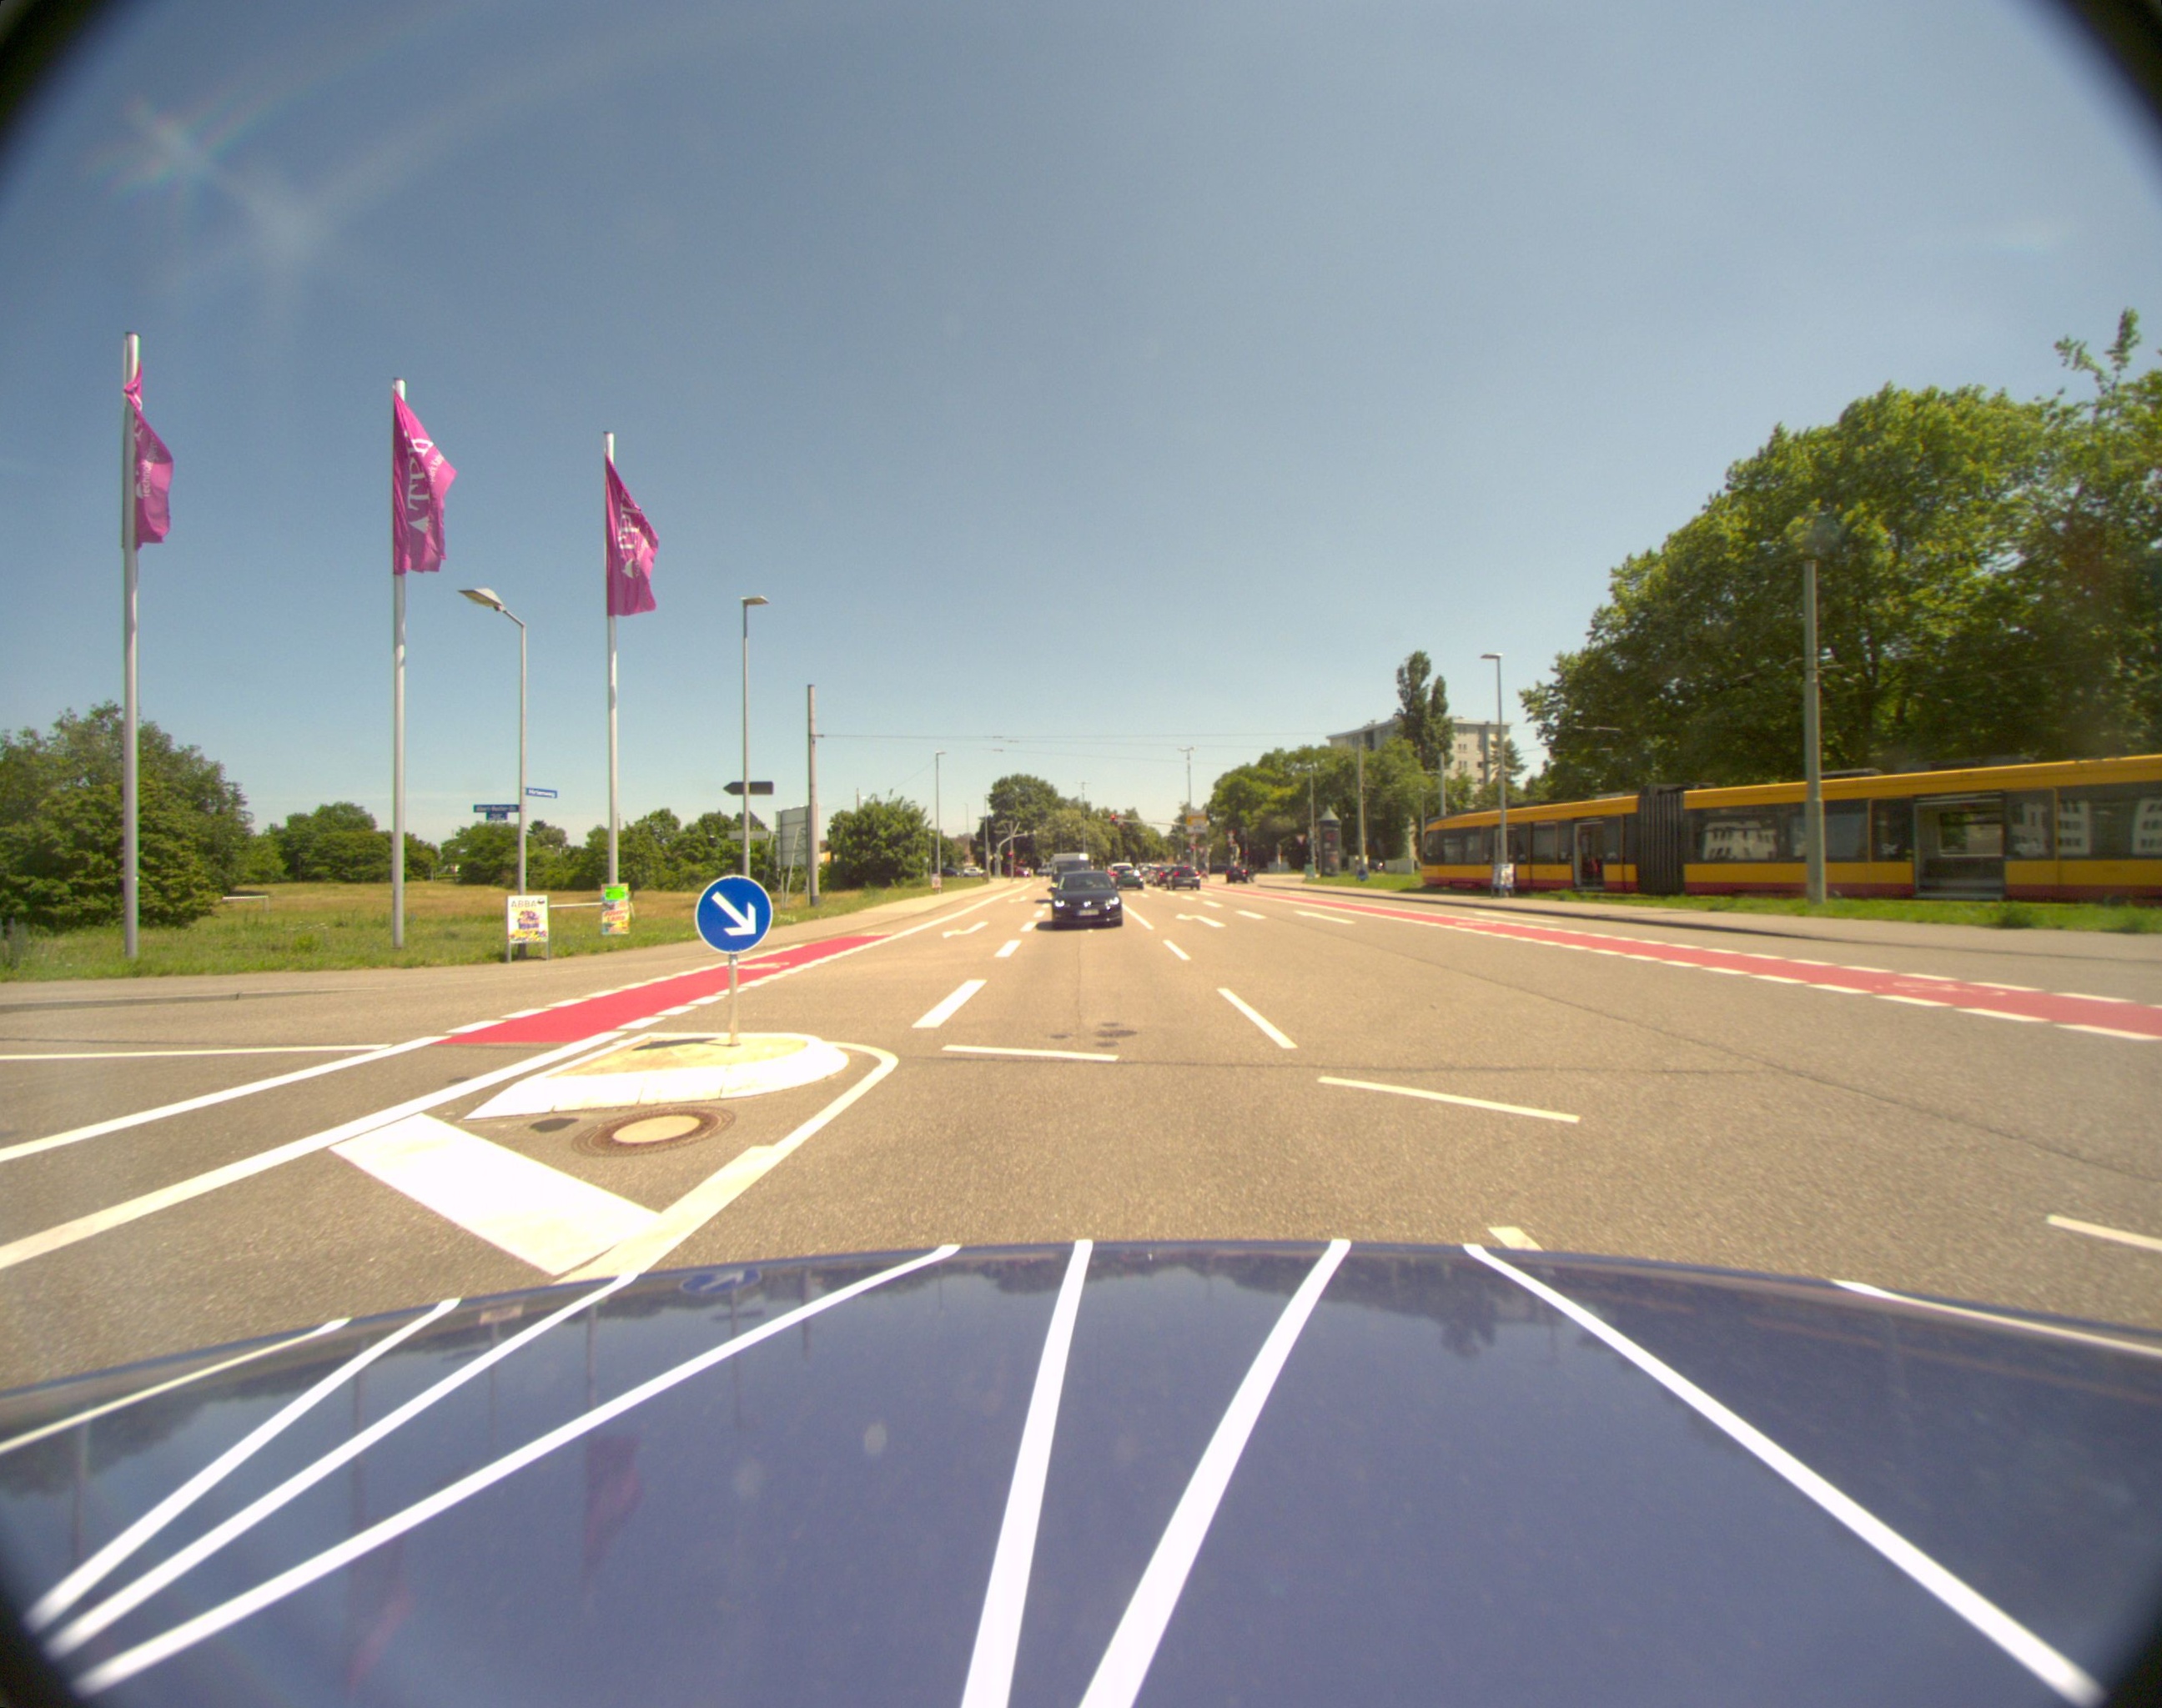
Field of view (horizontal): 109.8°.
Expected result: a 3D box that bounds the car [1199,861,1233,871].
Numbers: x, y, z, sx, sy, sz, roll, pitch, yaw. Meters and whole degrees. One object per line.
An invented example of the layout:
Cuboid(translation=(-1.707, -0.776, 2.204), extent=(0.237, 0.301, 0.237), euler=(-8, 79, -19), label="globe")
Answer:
Cuboid(translation=(17.802, 1.575, 100.123), extent=(3.990, 1.278, 1.891), euler=(-2, -3, 29), label="car")

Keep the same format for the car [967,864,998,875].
Cuboid(translation=(-15.009, 2.356, 115.658), extent=(4.400, 1.566, 1.879), euler=(-2, -2, 31), label="car")

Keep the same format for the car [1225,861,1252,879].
Cuboid(translation=(12.706, 1.310, 61.104), extent=(1.746, 1.397, 4.447), euler=(-1, -1, 16), label="car")

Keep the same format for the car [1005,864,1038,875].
Cuboid(translation=(-8.455, 2.200, 107.305), extent=(4.400, 1.566, 1.879), euler=(-2, -2, 31), label="car")

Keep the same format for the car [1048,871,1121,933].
Cuboid(translation=(0.181, 1.199, 20.149), extent=(1.708, 1.396, 4.055), euler=(-2, -1, 3), label="car")

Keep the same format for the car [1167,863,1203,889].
Cuboid(translation=(6.110, 1.276, 44.917), extent=(1.626, 1.447, 3.501), euler=(0, 0, 0), label="car")

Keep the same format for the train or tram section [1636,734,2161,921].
Cuboid(translation=(21.054, -0.458, 18.724), extent=(3.031, 3.736, 11.590), euler=(0, -1, -32), label="train or tram section")

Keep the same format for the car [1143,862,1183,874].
Cuboid(translation=(10.012, 1.674, 92.789), extent=(4.400, 1.380, 1.879), euler=(-2, -2, 31), label="car")

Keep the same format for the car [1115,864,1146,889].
Cuboid(translation=(3.044, 1.398, 47.706), extent=(1.727, 1.454, 3.991), euler=(-2, -1, 1), label="car")

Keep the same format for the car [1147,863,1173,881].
Cuboid(translation=(6.495, 1.480, 62.812), extent=(1.795, 1.447, 4.413), euler=(-1, -1, 1), label="car")

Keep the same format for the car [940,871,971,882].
Cuboid(translation=(-18.815, 3.346, 113.541), extent=(4.400, 1.566, 1.879), euler=(-2, -2, 31), label="car")

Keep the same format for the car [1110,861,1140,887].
Cuboid(translation=(3.156, 1.426, 55.279), extent=(1.816, 1.713, 4.831), euler=(-2, -1, 0), label="car")

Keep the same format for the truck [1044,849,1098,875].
Cuboid(translation=(-1.543, 1.225, 111.327), extent=(7.691, 3.510, 2.594), euler=(-2, -3, 31), label="truck")

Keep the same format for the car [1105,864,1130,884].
Cuboid(translation=(2.943, 1.613, 62.212), extent=(1.772, 1.429, 3.961), euler=(-3, -1, -1), label="car")

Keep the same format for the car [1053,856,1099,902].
Cuboid(translation=(-0.274, 1.127, 35.417), extent=(1.941, 1.919, 4.846), euler=(-1, -1, -2), label="car")

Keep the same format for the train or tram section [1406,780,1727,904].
Cuboid(translation=(17.544, -0.247, 29.514), extent=(3.025, 3.736, 12.988), euler=(0, -1, -6), label="train or tram section")

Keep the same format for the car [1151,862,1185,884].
Cuboid(translation=(6.110, 1.343, 53.702), extent=(1.764, 1.448, 4.285), euler=(-1, -1, -1), label="car")
